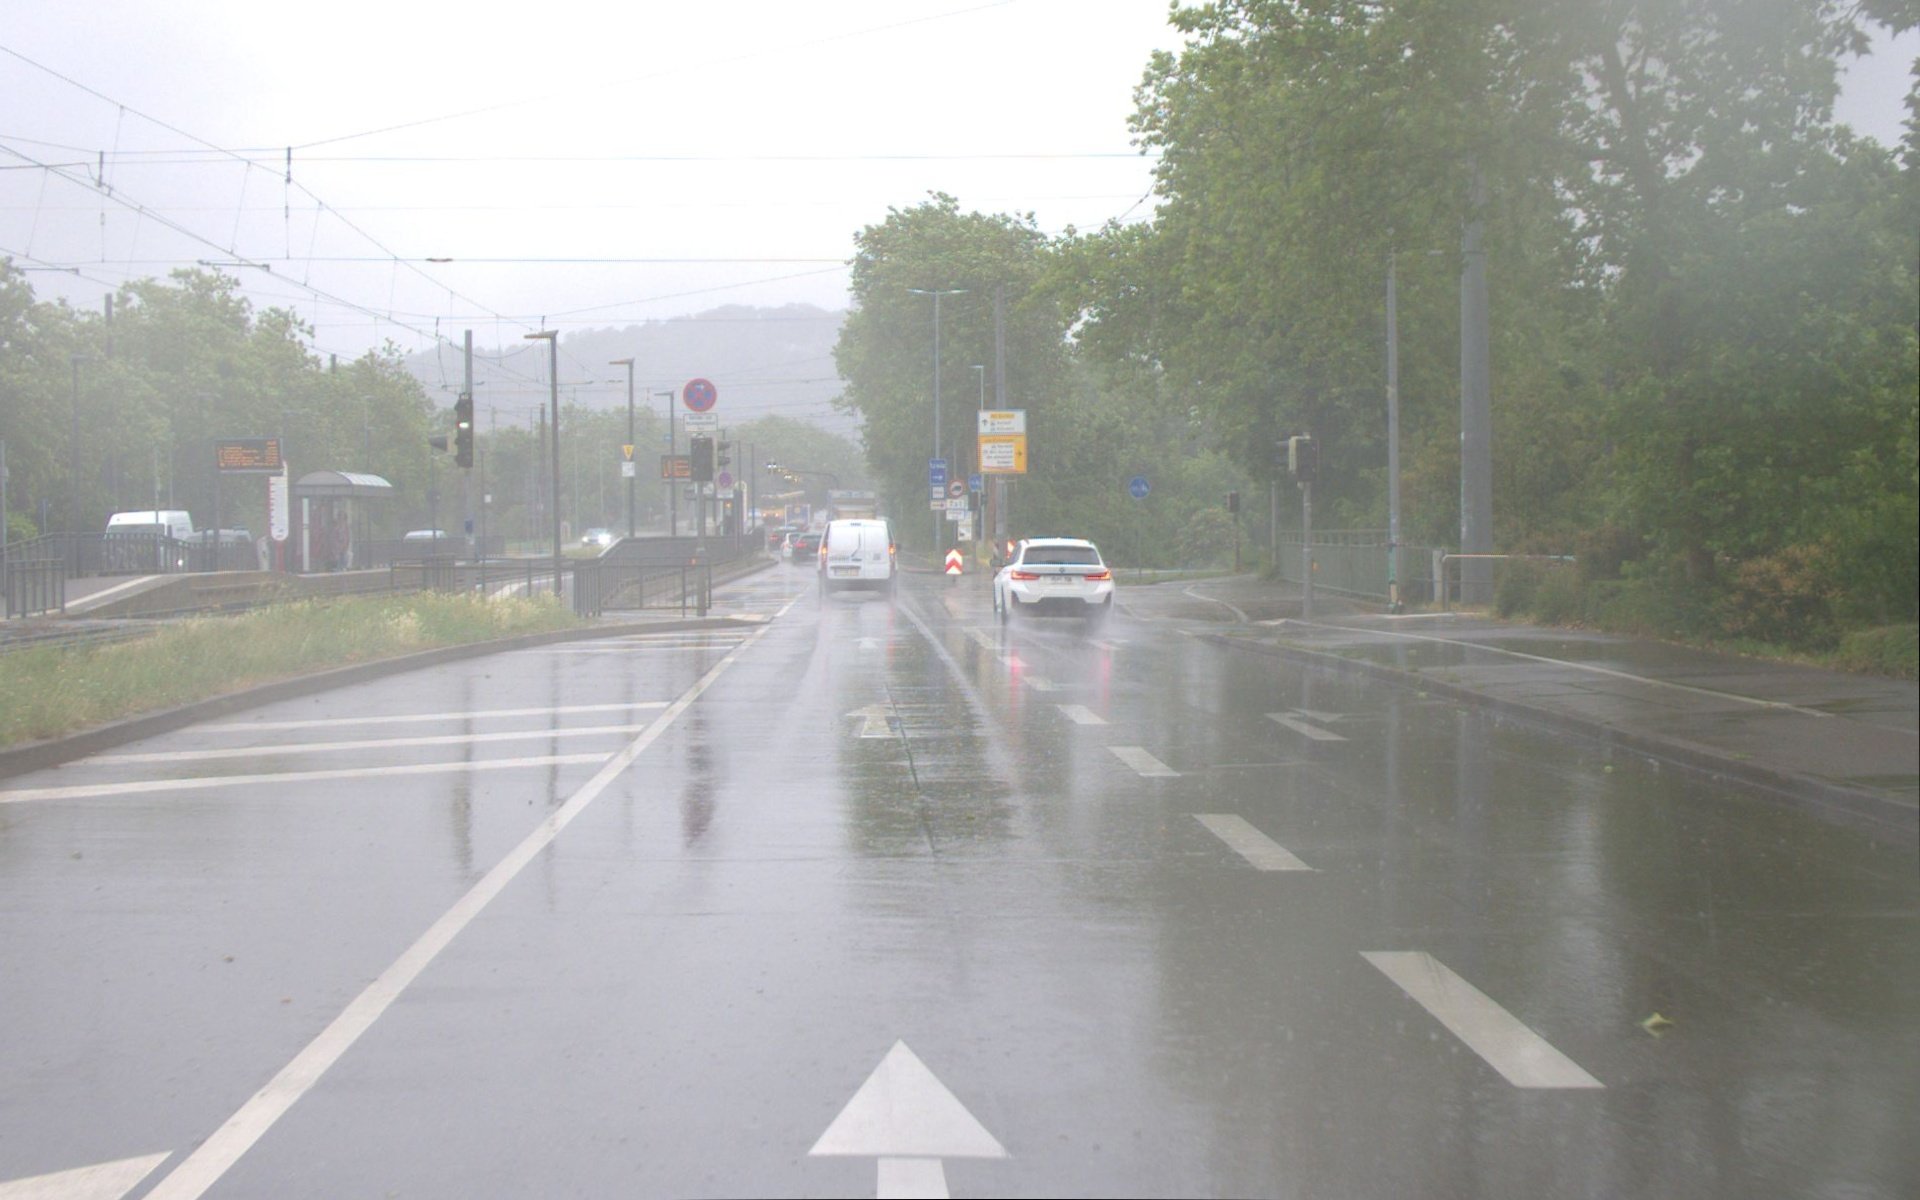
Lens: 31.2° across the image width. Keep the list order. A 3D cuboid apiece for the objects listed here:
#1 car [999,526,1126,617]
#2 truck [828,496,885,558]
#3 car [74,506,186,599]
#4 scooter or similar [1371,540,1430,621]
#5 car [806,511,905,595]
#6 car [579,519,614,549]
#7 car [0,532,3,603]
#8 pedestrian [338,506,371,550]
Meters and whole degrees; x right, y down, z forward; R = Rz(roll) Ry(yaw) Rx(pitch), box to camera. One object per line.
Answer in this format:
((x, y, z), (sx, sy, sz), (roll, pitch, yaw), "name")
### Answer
((1.655, -0.497, 56.583), (1.888, 1.426, 4.000), (1, 1, -1), "car")
((-6.426, -4.442, 212.431), (2.775, 3.691, 9.854), (1, 1, -6), "truck")
((-25.065, -1.443, 103.983), (2.119, 2.703, 5.739), (1, 1, -1), "car")
((7.192, -0.323, 56.158), (0.759, 1.288, 1.647), (1, 1, 1), "scooter or similar")
((-2.405, -1.086, 78.173), (1.993, 1.842, 4.001), (1, 1, -6), "car")
((-25.016, -4.519, 236.628), (1.993, 2.007, 4.000), (1, 1, -1), "car")
((-24.100, -0.753, 80.845), (1.993, 1.701, 4.625), (1, 1, -1), "car")
((-18.452, -2.191, 104.777), (0.831, 1.312, 0.858), (2, 1, -1), "pedestrian")
